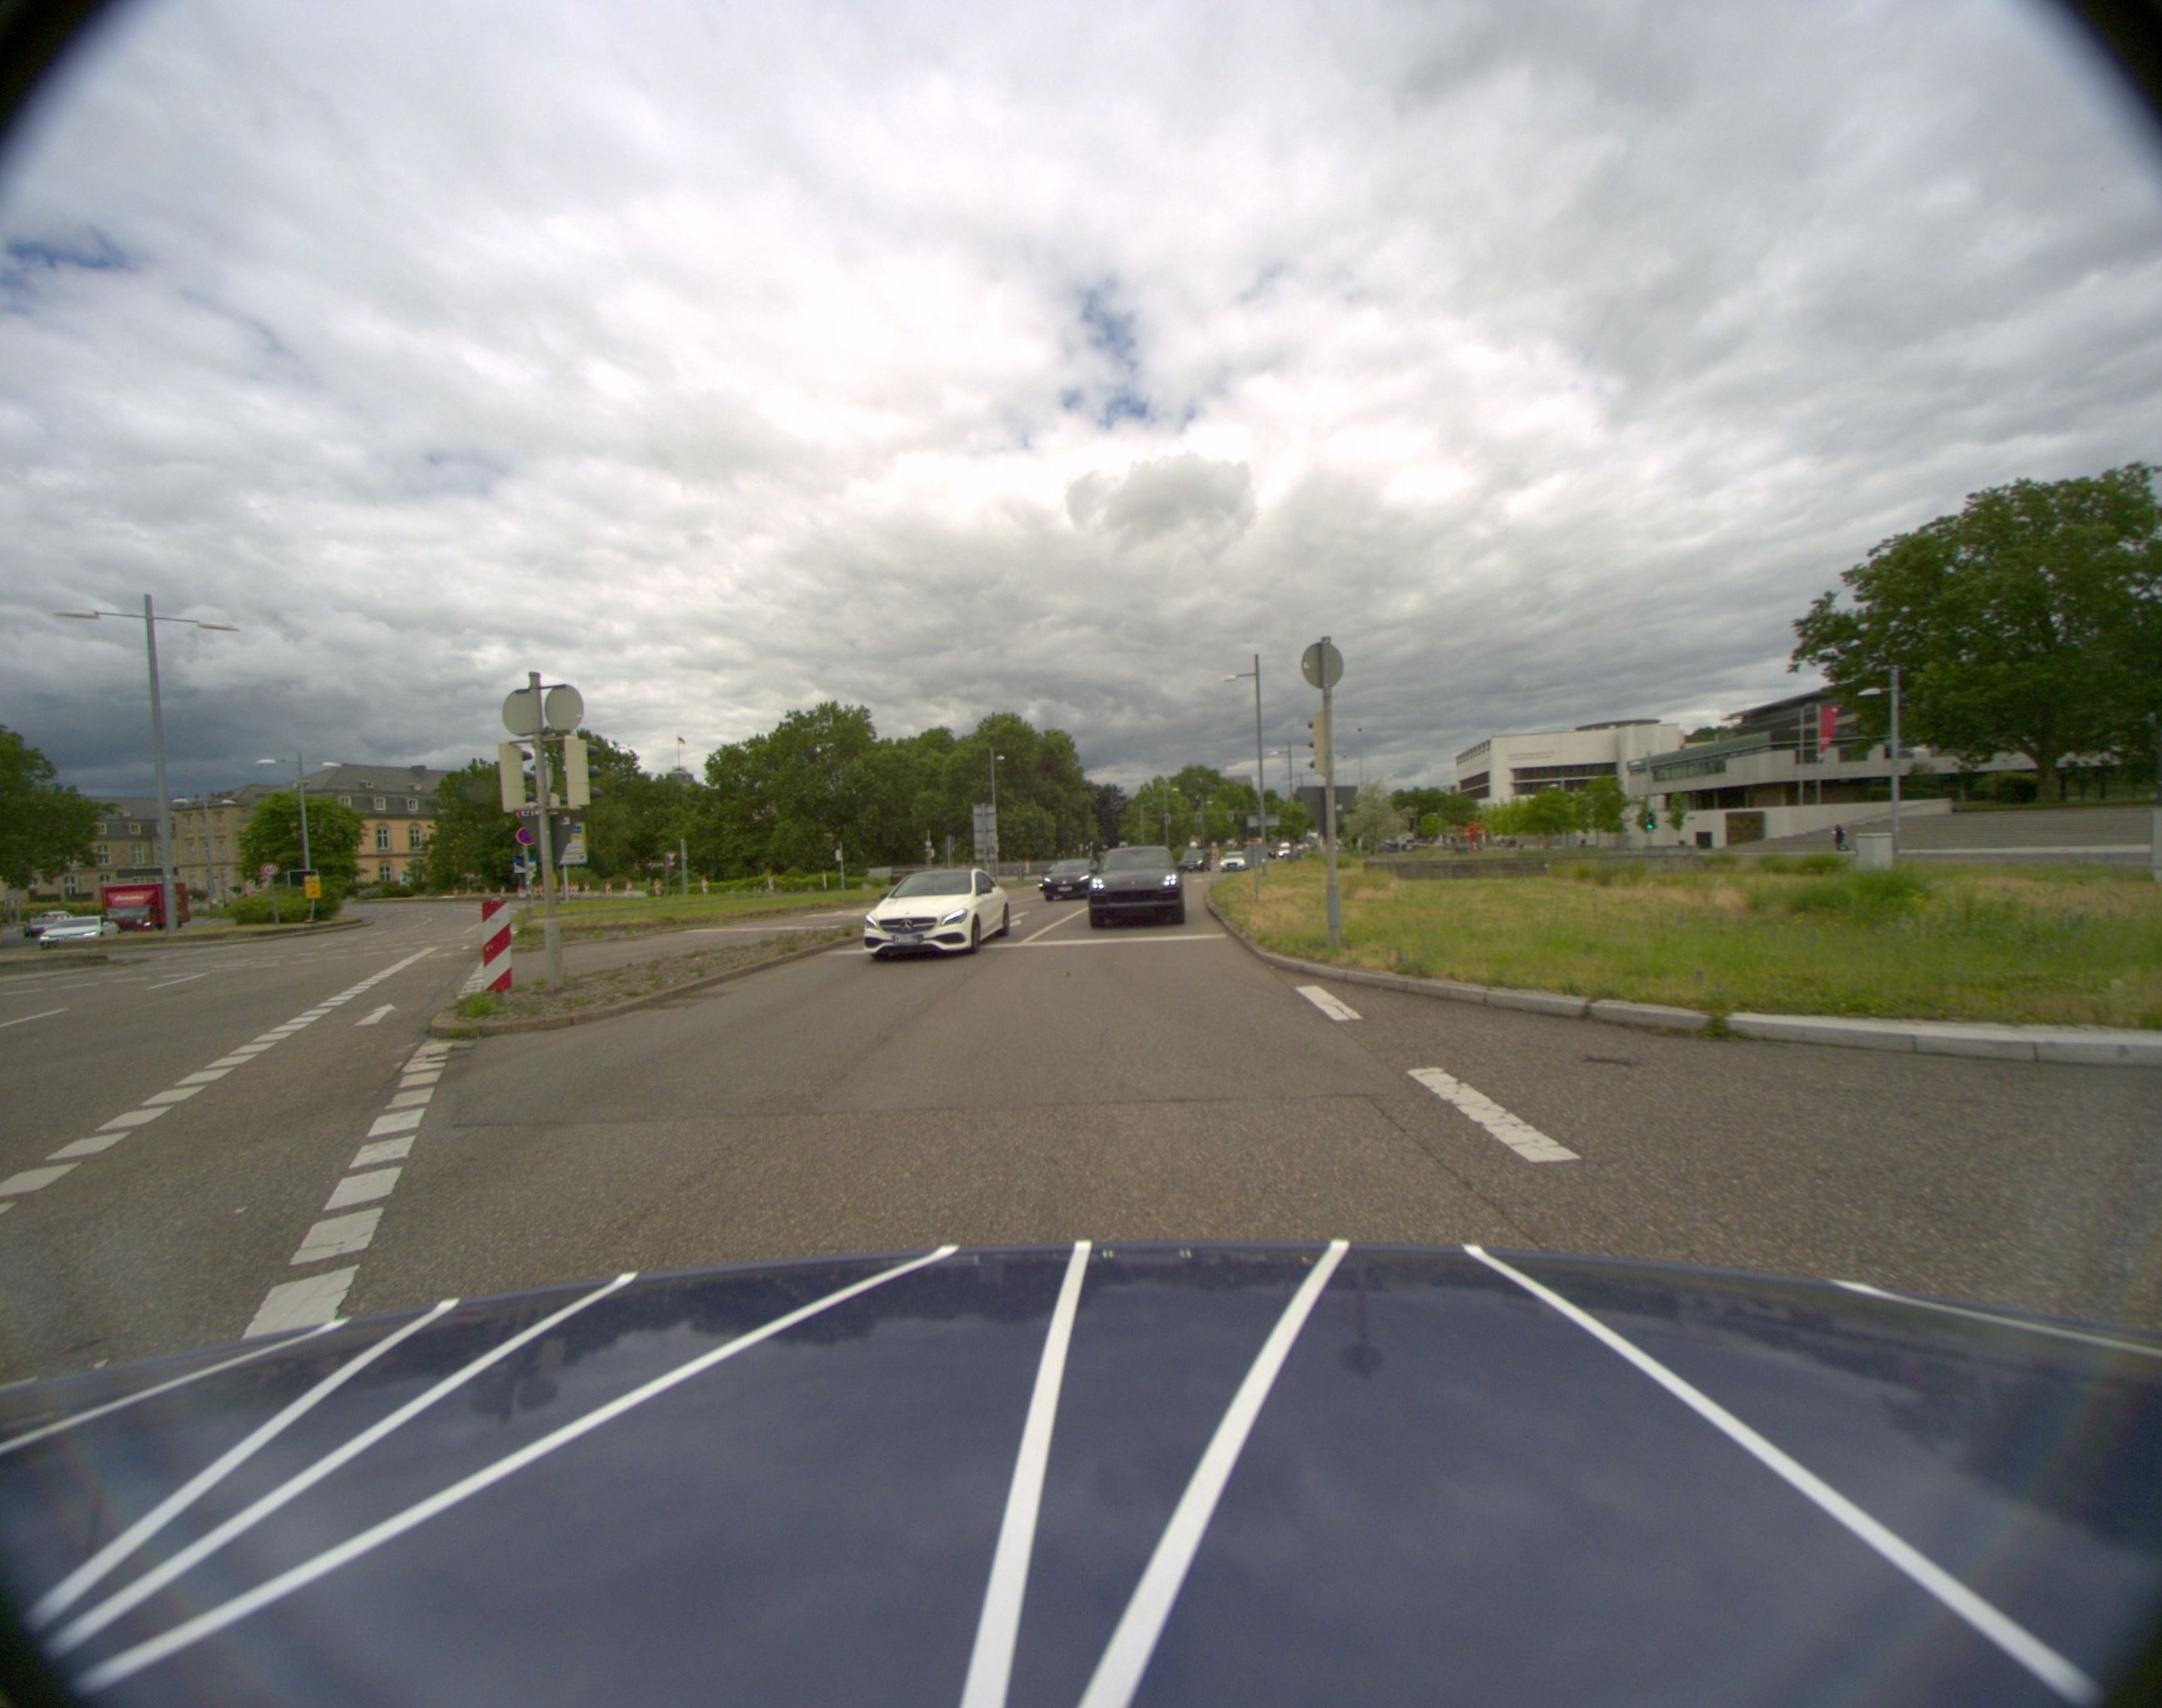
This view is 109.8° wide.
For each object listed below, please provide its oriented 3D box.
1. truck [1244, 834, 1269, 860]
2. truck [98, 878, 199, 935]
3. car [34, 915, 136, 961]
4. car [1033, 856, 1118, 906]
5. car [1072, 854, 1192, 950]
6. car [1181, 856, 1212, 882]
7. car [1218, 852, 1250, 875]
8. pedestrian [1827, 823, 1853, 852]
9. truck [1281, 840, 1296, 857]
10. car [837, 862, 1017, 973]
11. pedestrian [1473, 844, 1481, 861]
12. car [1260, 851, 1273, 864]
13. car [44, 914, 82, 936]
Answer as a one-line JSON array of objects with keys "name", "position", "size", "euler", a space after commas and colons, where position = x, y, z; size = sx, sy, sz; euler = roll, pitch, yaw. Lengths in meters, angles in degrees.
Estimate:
[{"name": "truck", "position": [25.499, -1.024, 110.054], "size": [2.723, 3.595, 9.189], "euler": [-3, 0, 17]}, {"name": "truck", "position": [-64.020, 3.552, 52.405], "size": [2.797, 3.469, 8.328], "euler": [-3, 0, -40]}, {"name": "car", "position": [-46.754, 3.900, 35.782], "size": [2.004, 1.744, 3.950], "euler": [-3, 0, -40]}, {"name": "car", "position": [-0.105, 0.969, 28.972], "size": [1.996, 1.537, 4.573], "euler": [-3, 1, 15]}, {"name": "car", "position": [1.286, 0.886, 16.407], "size": [2.003, 1.628, 5.024], "euler": [-3, 0, 10]}, {"name": "car", "position": [9.547, 1.209, 62.425], "size": [1.857, 1.976, 4.647], "euler": [-2, 0, 16]}, {"name": "car", "position": [11.749, 0.697, 58.073], "size": [2.093, 1.600, 4.417], "euler": [-2, 0, 15]}, {"name": "pedestrian", "position": [45.670, -0.978, 45.726], "size": [0.682, 1.738, 0.892], "euler": [-3, 0, 12]}, {"name": "truck", "position": [35.028, -0.928, 128.220], "size": [1.953, 2.767, 5.796], "euler": [-3, 0, 18]}, {"name": "car", "position": [-2.495, 0.976, 13.629], "size": [1.869, 1.560, 4.654], "euler": [-3, 0, 5]}, {"name": "pedestrian", "position": [39.585, -0.148, 75.874], "size": [0.446, 1.625, 0.470], "euler": [-3, 0, -12]}, {"name": "car", "position": [30.657, 0.567, 125.354], "size": [1.780, 1.896, 3.804], "euler": [-3, -1, 17]}, {"name": "car", "position": [-104.493, 7.241, 78.032], "size": [3.989, 2.002, 2.004], "euler": [-3, 0, 41]}]
